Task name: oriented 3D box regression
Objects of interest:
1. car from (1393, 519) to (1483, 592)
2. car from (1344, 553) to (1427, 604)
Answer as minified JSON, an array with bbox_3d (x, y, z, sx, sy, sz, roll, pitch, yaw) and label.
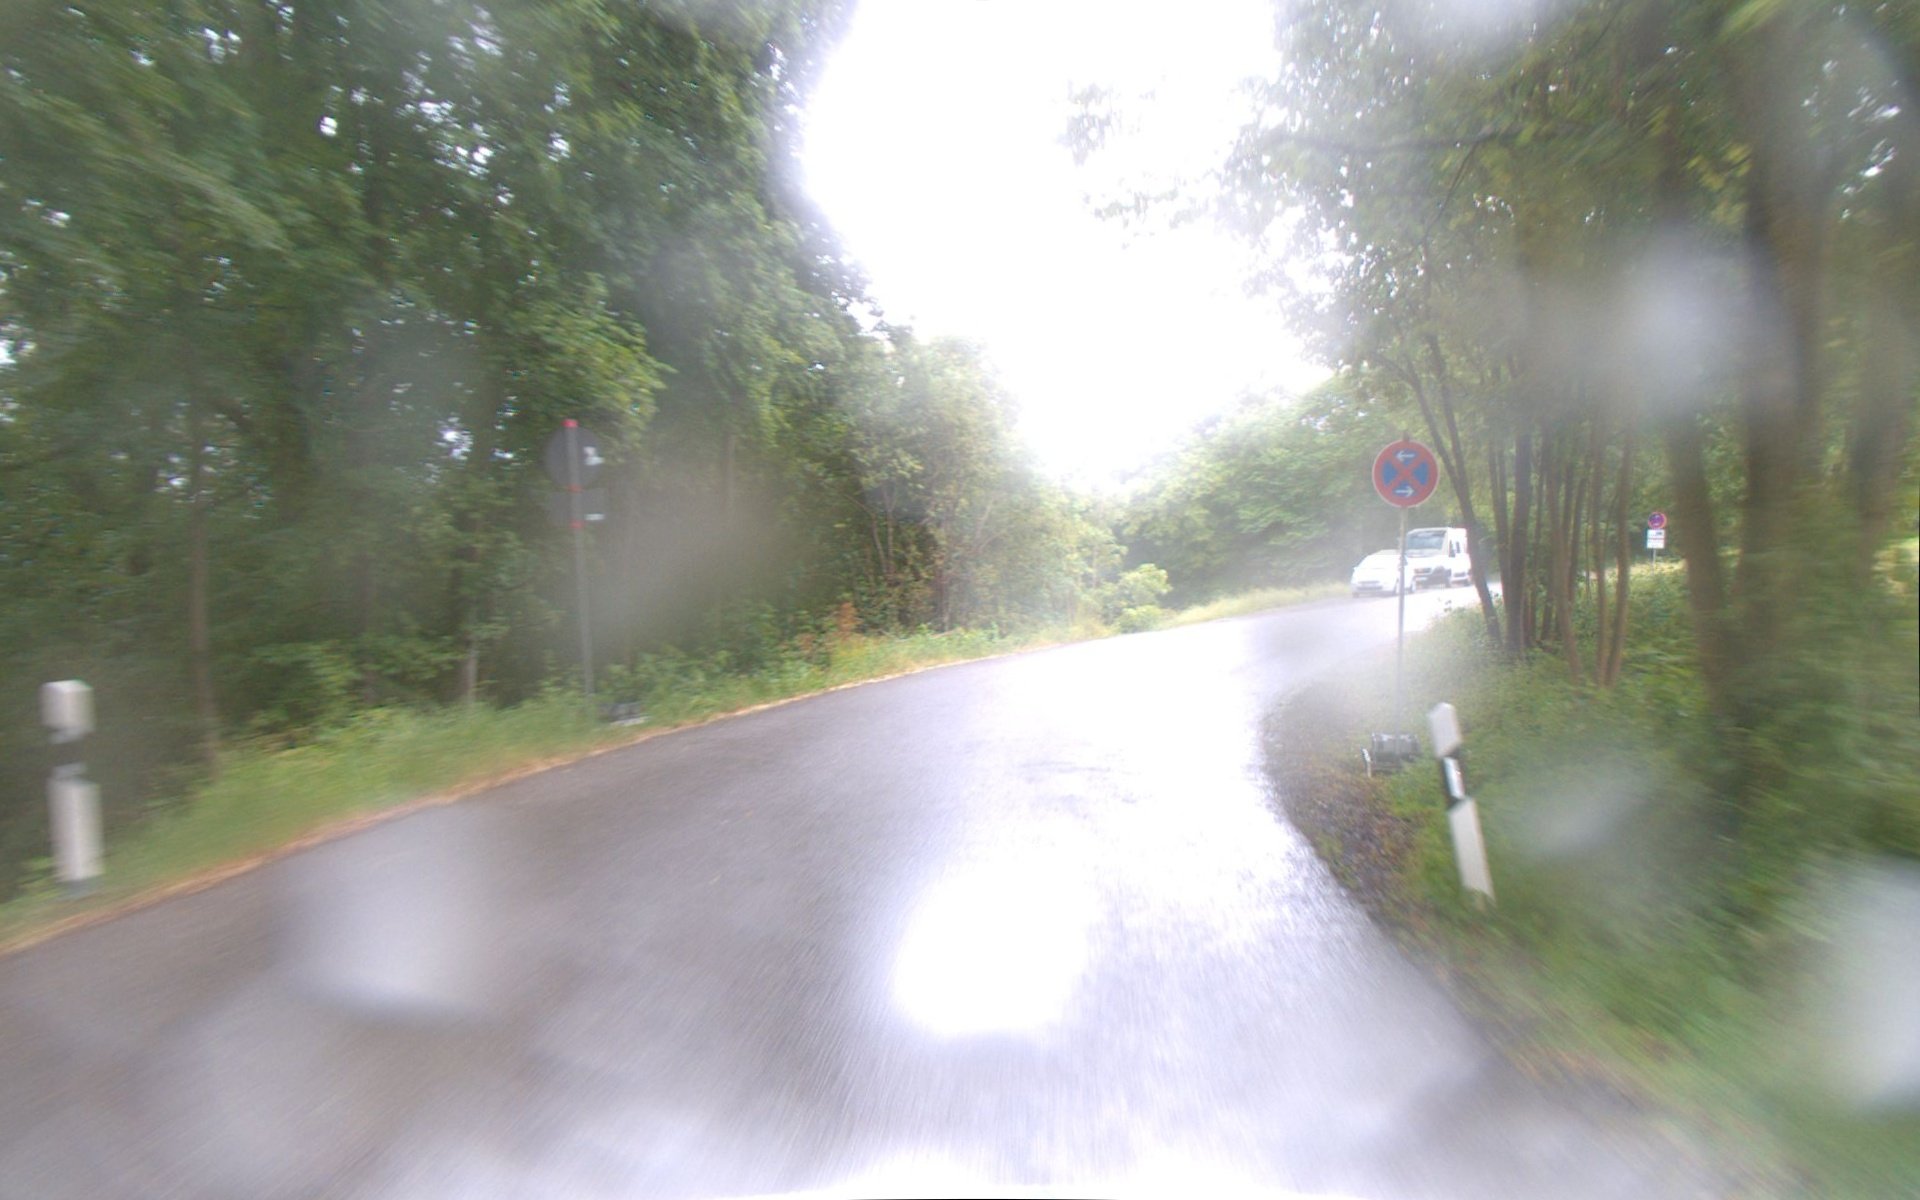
[{"bbox_3d":[20.300,-1.925,69.999,2.230,2.743,6.041,-4,1,29],"label":"car"},{"bbox_3d":[15.781,-0.820,61.206,1.826,1.623,4.489,-3,2,29],"label":"car"}]
